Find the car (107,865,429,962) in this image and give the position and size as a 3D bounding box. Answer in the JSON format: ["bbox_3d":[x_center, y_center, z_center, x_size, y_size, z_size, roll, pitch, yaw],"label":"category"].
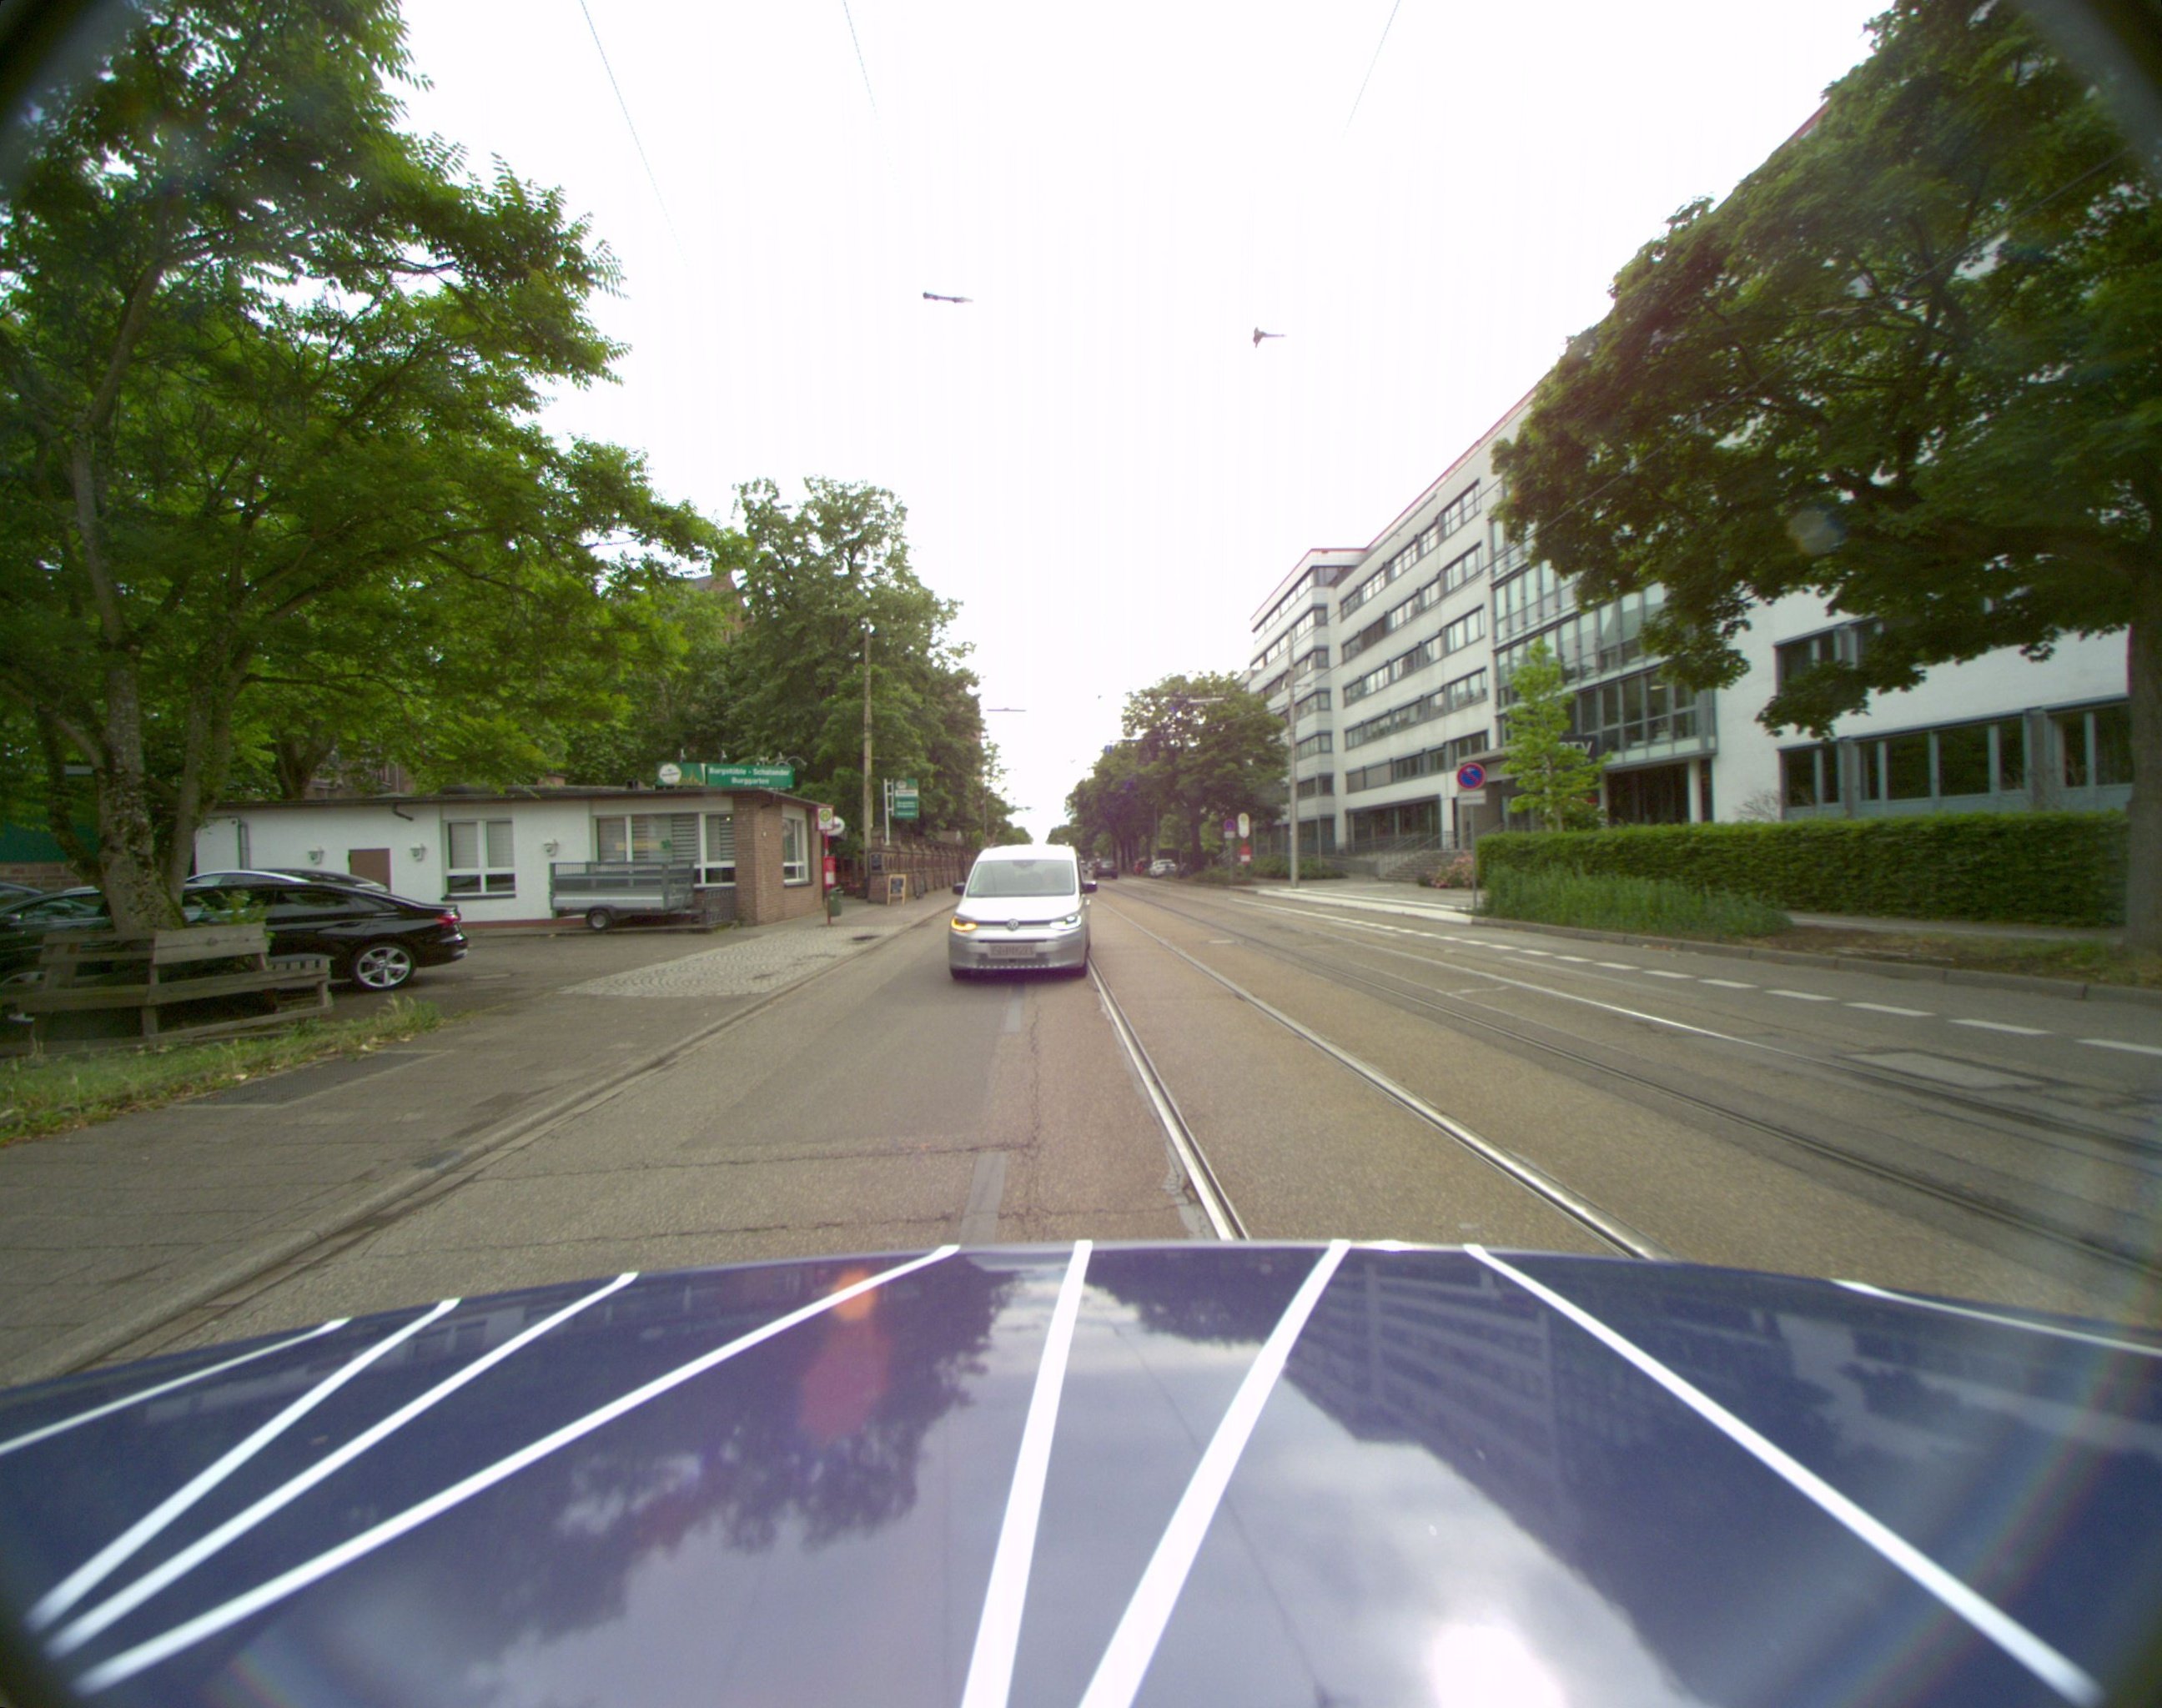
[{"bbox_3d":[-16.306,1.151,15.427,4.434,1.637,1.991,-2,1,2],"label":"car"}]

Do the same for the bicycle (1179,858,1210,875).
[{"bbox_3d":[7.660,0.840,51.273,1.834,1.047,0.741,-2,0,-11],"label":"bicycle"}]

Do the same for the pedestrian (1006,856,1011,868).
[{"bbox_3d":[-10.854,1.202,113.307,0.723,1.834,0.897,0,1,-6],"label":"pedestrian"}]

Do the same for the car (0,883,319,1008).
[{"bbox_3d":[-13.942,1.210,10.577,1.872,1.419,4.551,1,1,40],"label":"car"}]

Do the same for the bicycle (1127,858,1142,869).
[{"bbox_3d":[5.761,1.062,81.630,1.475,1.085,0.616,-4,1,-15],"label":"bicycle"}]

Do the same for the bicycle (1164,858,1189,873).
[{"bbox_3d":[7.223,0.886,57.499,1.812,1.094,0.632,-1,1,-9],"label":"bicycle"}]

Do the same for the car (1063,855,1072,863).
[{"bbox_3d":[-2.825,1.078,156.582,1.847,1.644,4.388,0,0,-3],"label":"car"}]

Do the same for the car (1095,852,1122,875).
[{"bbox_3d":[2.155,0.725,61.479,1.832,1.727,4.334,-2,0,-2],"label":"car"}]

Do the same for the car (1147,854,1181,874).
[{"bbox_3d":[6.671,0.794,61.586,1.886,1.485,4.752,-3,0,-3],"label":"car"}]

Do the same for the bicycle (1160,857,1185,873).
[{"bbox_3d":[7.084,0.860,58.654,1.869,1.180,0.632,-1,1,1],"label":"bicycle"}]

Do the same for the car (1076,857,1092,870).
[{"bbox_3d":[0.337,1.134,93.044,1.708,1.521,3.740,-3,1,-4],"label":"car"}]

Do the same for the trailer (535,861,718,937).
[{"bbox_3d":[-10.393,0.994,17.544,3.170,1.530,1.620,-2,1,-2],"label":"trailer"}]

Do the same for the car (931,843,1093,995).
[{"bbox_3d":[-0.792,0.798,11.606,1.850,1.796,4.937,-1,0,2],"label":"car"}]

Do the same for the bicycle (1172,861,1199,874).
[{"bbox_3d":[7.603,0.973,55.124,1.812,0.894,0.632,-1,1,-9],"label":"bicycle"}]

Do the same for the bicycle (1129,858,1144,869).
[{"bbox_3d":[6.041,1.039,82.649,1.473,1.134,0.617,-2,1,-4],"label":"bicycle"}]

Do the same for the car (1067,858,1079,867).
[{"bbox_3d":[-1.281,1.355,120.064,1.752,1.477,4.062,-1,-1,-3],"label":"car"}]

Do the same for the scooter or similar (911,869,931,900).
[{"bbox_3d":[-6.806,1.274,32.341,0.578,1.232,1.409,1,0,-2],"label":"scooter or similar"}]

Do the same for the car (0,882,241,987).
[{"bbox_3d":[-16.274,1.211,11.560,1.980,1.450,4.501,-2,-1,36],"label":"car"}]

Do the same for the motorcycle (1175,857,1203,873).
[{"bbox_3d":[7.609,0.785,53.396,1.794,1.044,0.732,-3,1,-10],"label":"motorcycle"}]

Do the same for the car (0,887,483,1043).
[{"bbox_3d":[-10.420,1.185,9.287,1.930,1.399,4.594,-1,-1,41],"label":"car"}]

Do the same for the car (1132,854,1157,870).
[{"bbox_3d":[6.197,0.779,74.815,1.633,1.439,3.755,-5,1,-6],"label":"car"}]
